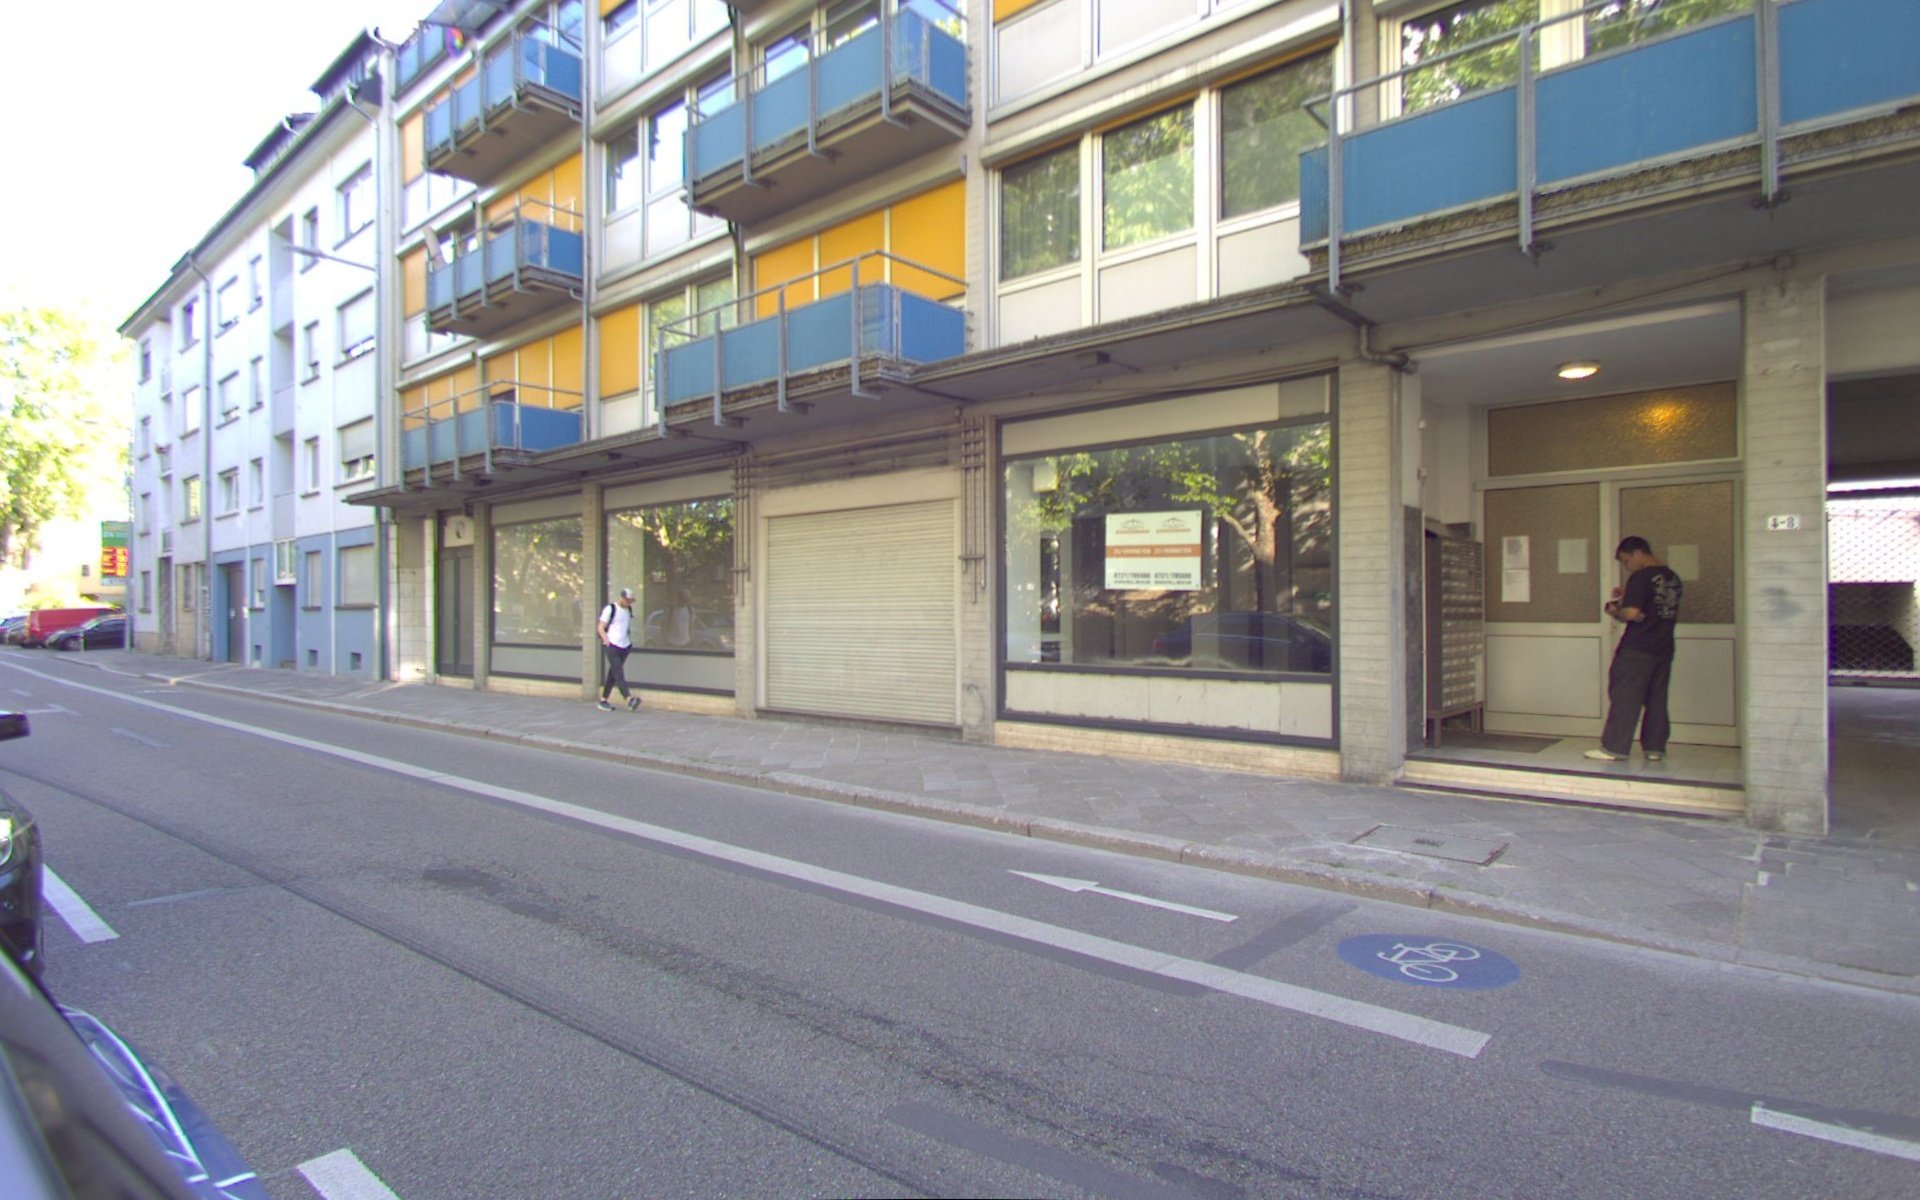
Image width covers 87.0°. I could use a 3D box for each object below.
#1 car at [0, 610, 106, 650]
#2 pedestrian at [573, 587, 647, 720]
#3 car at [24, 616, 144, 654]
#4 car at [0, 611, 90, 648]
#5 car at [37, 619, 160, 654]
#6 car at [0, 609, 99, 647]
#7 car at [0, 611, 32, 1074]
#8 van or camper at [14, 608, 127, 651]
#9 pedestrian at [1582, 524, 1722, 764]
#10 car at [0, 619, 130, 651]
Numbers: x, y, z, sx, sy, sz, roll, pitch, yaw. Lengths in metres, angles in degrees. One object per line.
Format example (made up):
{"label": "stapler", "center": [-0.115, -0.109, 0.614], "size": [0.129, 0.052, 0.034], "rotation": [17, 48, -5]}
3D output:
{"label": "car", "center": [-53.316, 1.744, 59.189], "size": [1.999, 2.210, 4.927], "rotation": [-1, -1, 41]}
{"label": "pedestrian", "center": [-5.001, 0.741, 14.450], "size": [0.879, 1.813, 0.593], "rotation": [-1, 0, 42]}
{"label": "car", "center": [-41.634, 1.628, 48.156], "size": [1.999, 1.703, 4.093], "rotation": [-1, -1, 41]}
{"label": "car", "center": [-57.397, 1.829, 62.849], "size": [1.999, 2.210, 4.927], "rotation": [-1, -1, 41]}
{"label": "car", "center": [-39.754, 1.639, 46.772], "size": [1.999, 1.506, 4.093], "rotation": [-1, -1, 41]}
{"label": "car", "center": [-55.404, 1.679, 61.140], "size": [1.999, 2.210, 4.927], "rotation": [-1, -1, 41]}
{"label": "car", "center": [-5.021, 0.799, 3.859], "size": [3.861, 1.467, 1.718], "rotation": [-1, -1, 40]}
{"label": "van or camper", "center": [-43.890, 1.438, 49.998], "size": [1.999, 2.029, 3.946], "rotation": [-1, -1, 40]}
{"label": "pedestrian", "center": [5.200, 0.317, 7.629], "size": [0.650, 1.726, 0.550], "rotation": [0, -1, -16]}
{"label": "car", "center": [-45.723, 1.758, 51.690], "size": [1.999, 1.506, 4.927], "rotation": [-1, -1, 41]}
